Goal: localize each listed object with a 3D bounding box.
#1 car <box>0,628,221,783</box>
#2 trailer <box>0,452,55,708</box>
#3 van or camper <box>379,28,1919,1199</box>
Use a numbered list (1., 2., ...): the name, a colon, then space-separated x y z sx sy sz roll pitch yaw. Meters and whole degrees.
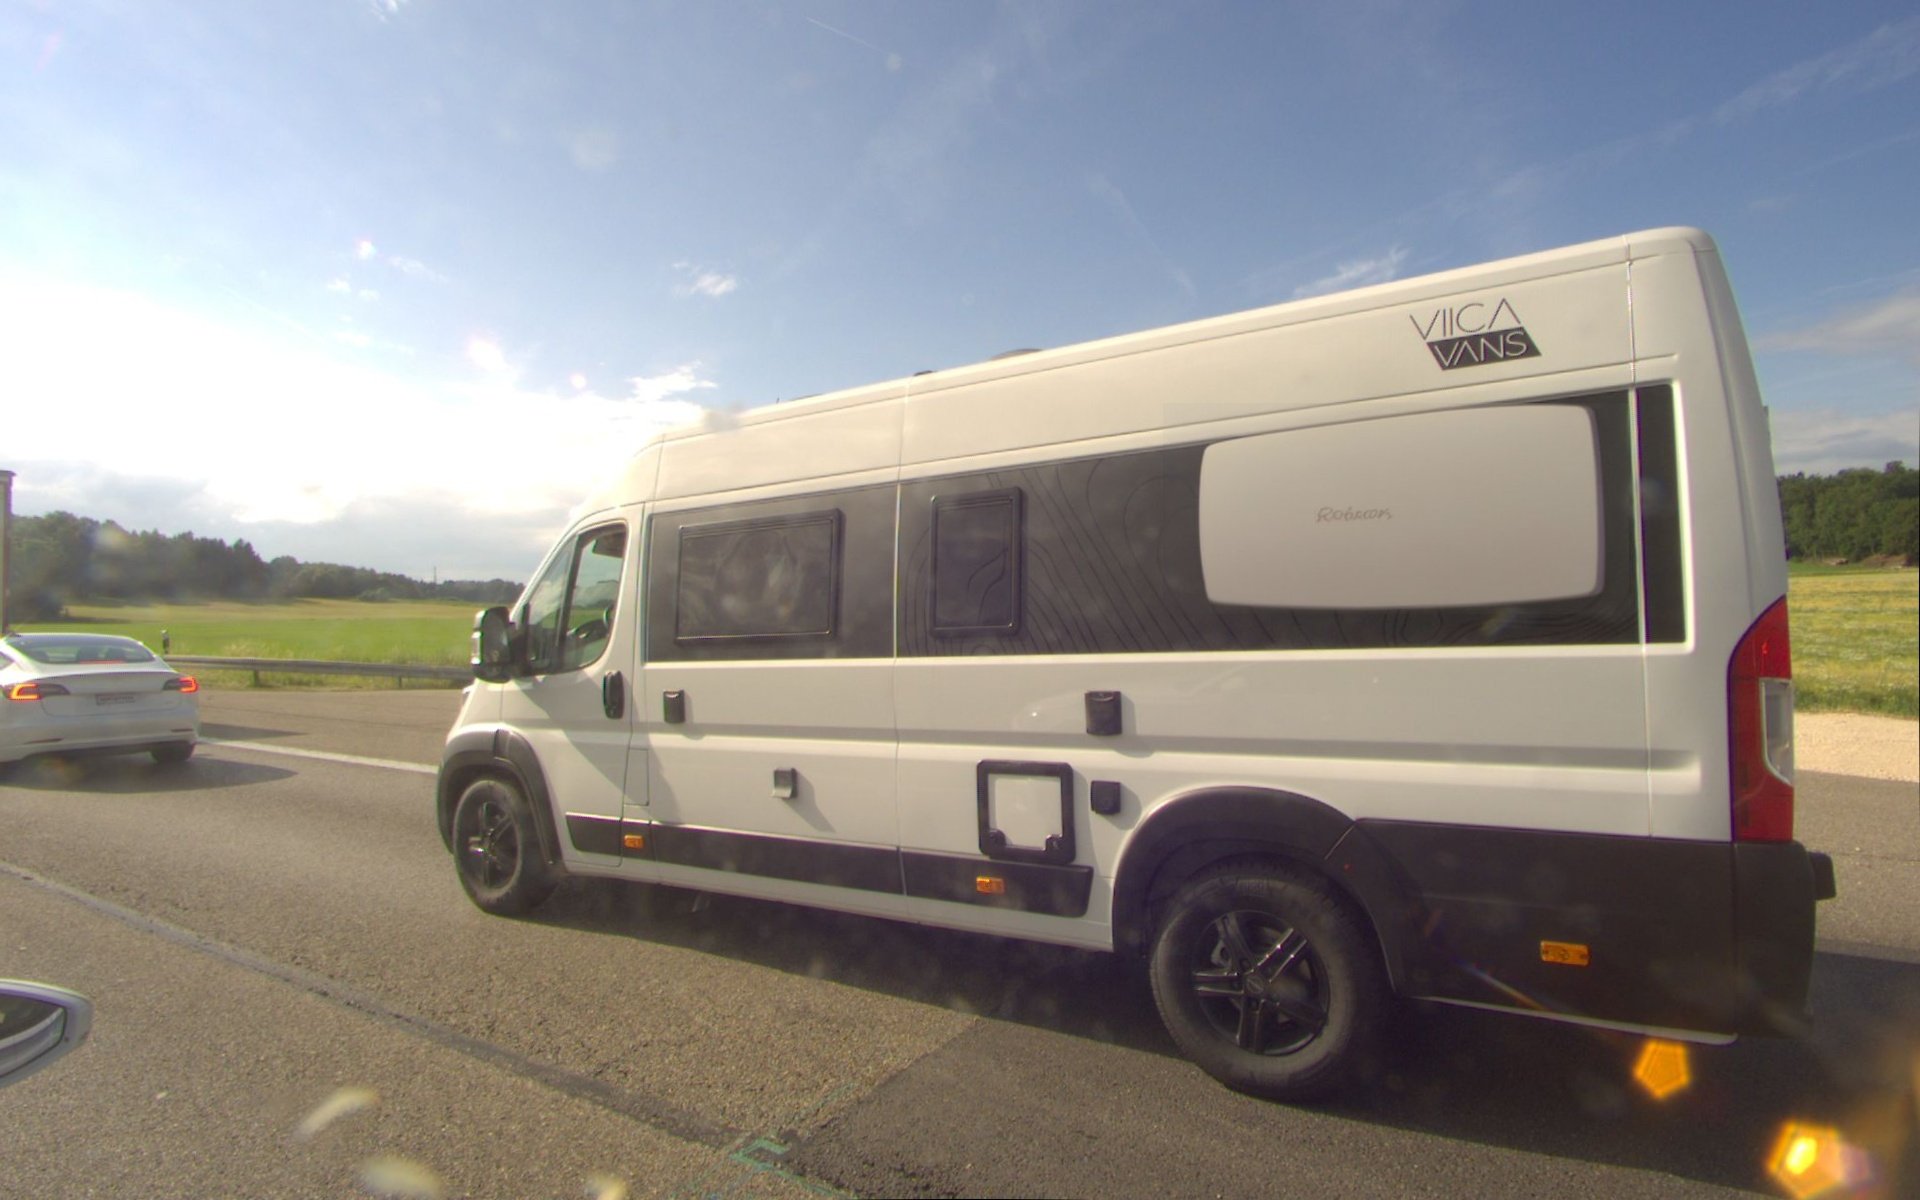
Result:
1. car: -10.279 1.027 11.119 4.371 1.412 1.786 -1 -1 30
2. trailer: -21.248 -0.128 18.744 13.181 4.061 3.125 -2 -2 33
3. van or camper: 0.076 0.191 4.719 6.241 2.716 2.211 -1 -1 32
